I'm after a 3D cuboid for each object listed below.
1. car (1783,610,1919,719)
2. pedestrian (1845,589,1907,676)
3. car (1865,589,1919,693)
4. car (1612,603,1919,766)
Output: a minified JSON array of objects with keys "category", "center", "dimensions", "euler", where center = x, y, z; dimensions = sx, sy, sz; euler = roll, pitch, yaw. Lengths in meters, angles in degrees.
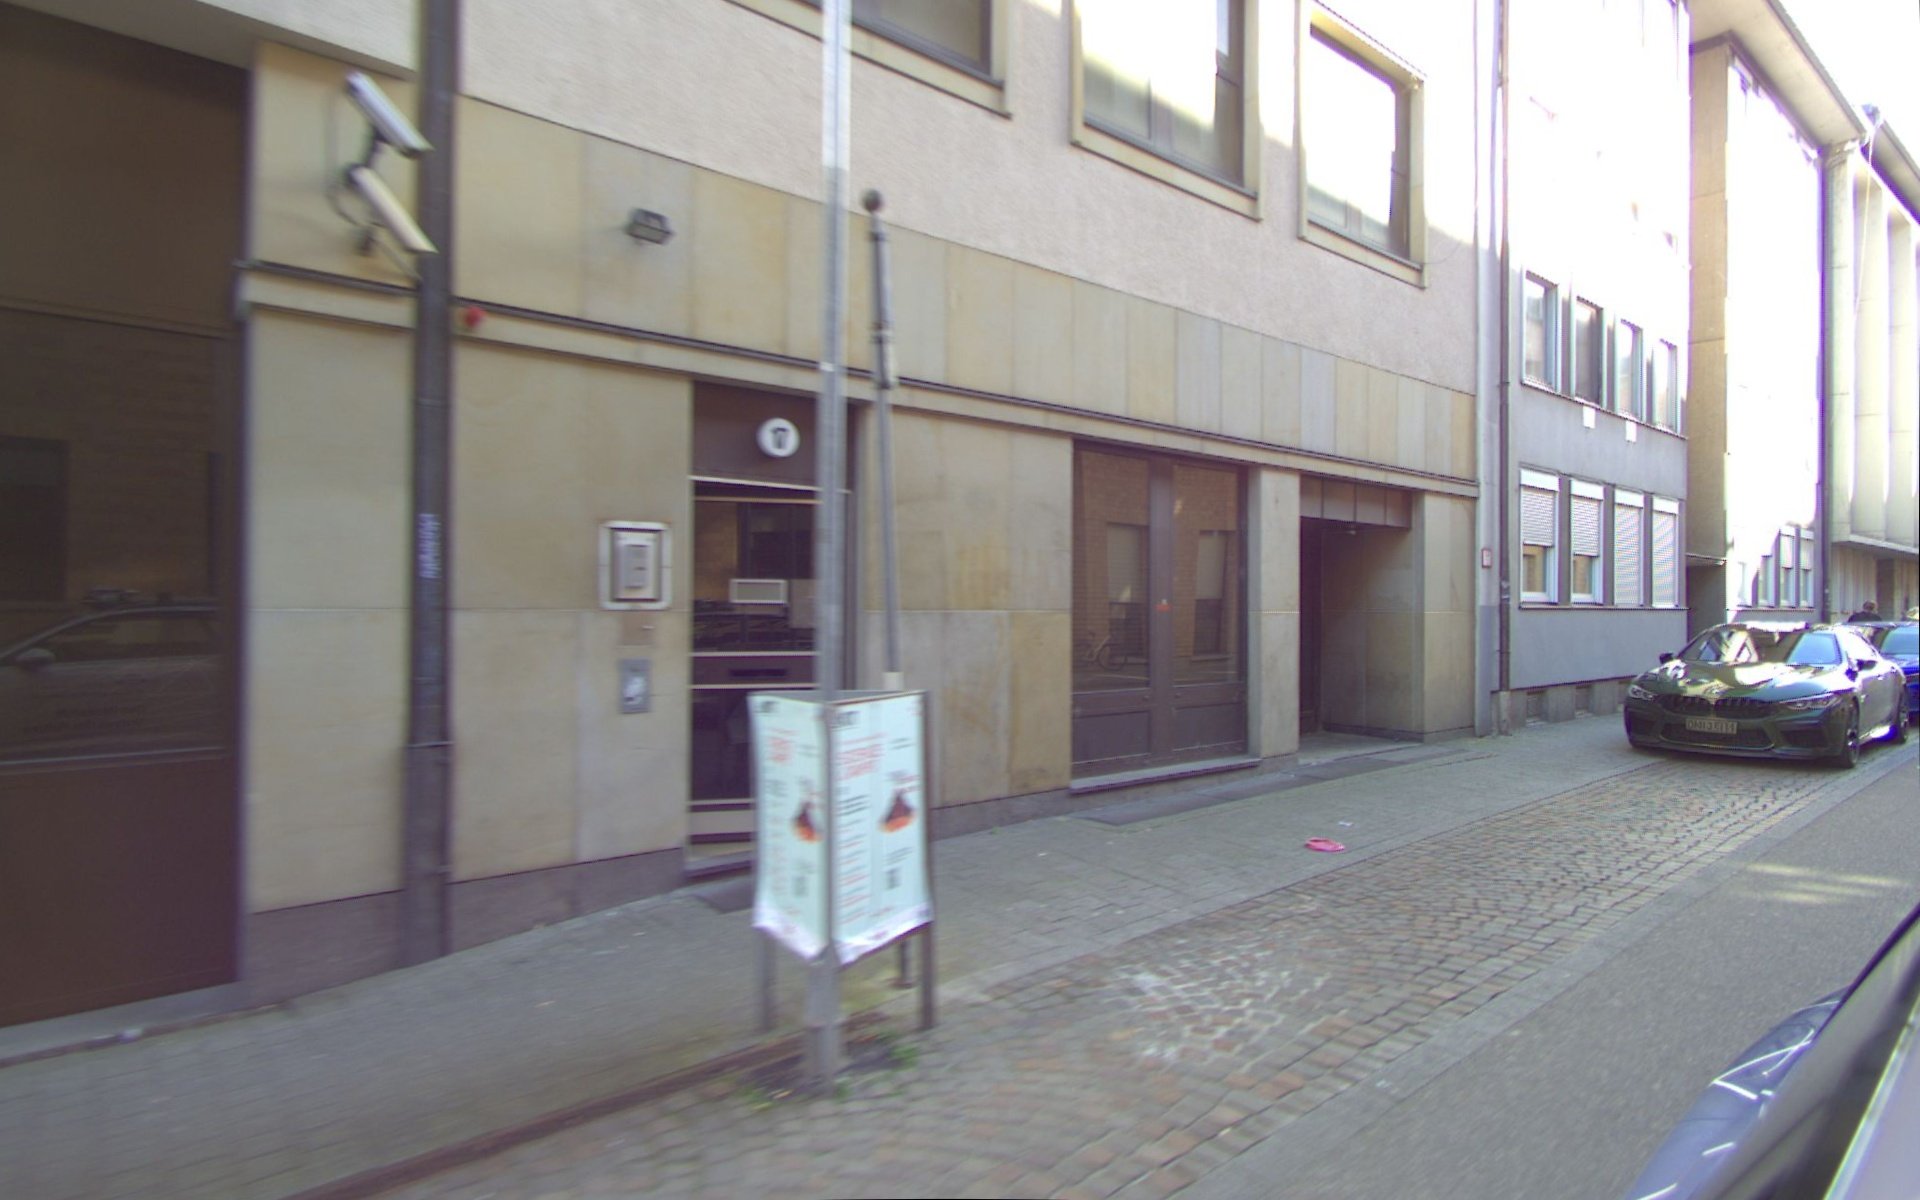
[{"category":"car","center":[14.116,0.871,15.182],"dimensions":[4.704,1.431,1.810],"euler":[0,-2,-39]},{"category":"pedestrian","center":[19.052,0.655,21.056],"dimensions":[0.733,1.742,0.791],"euler":[1,1,-38]},{"category":"car","center":[18.922,0.724,18.891],"dimensions":[4.958,1.809,2.108],"euler":[0,-2,-37]},{"category":"car","center":[9.462,0.793,11.517],"dimensions":[5.131,1.472,1.898],"euler":[0,-2,-39]}]
